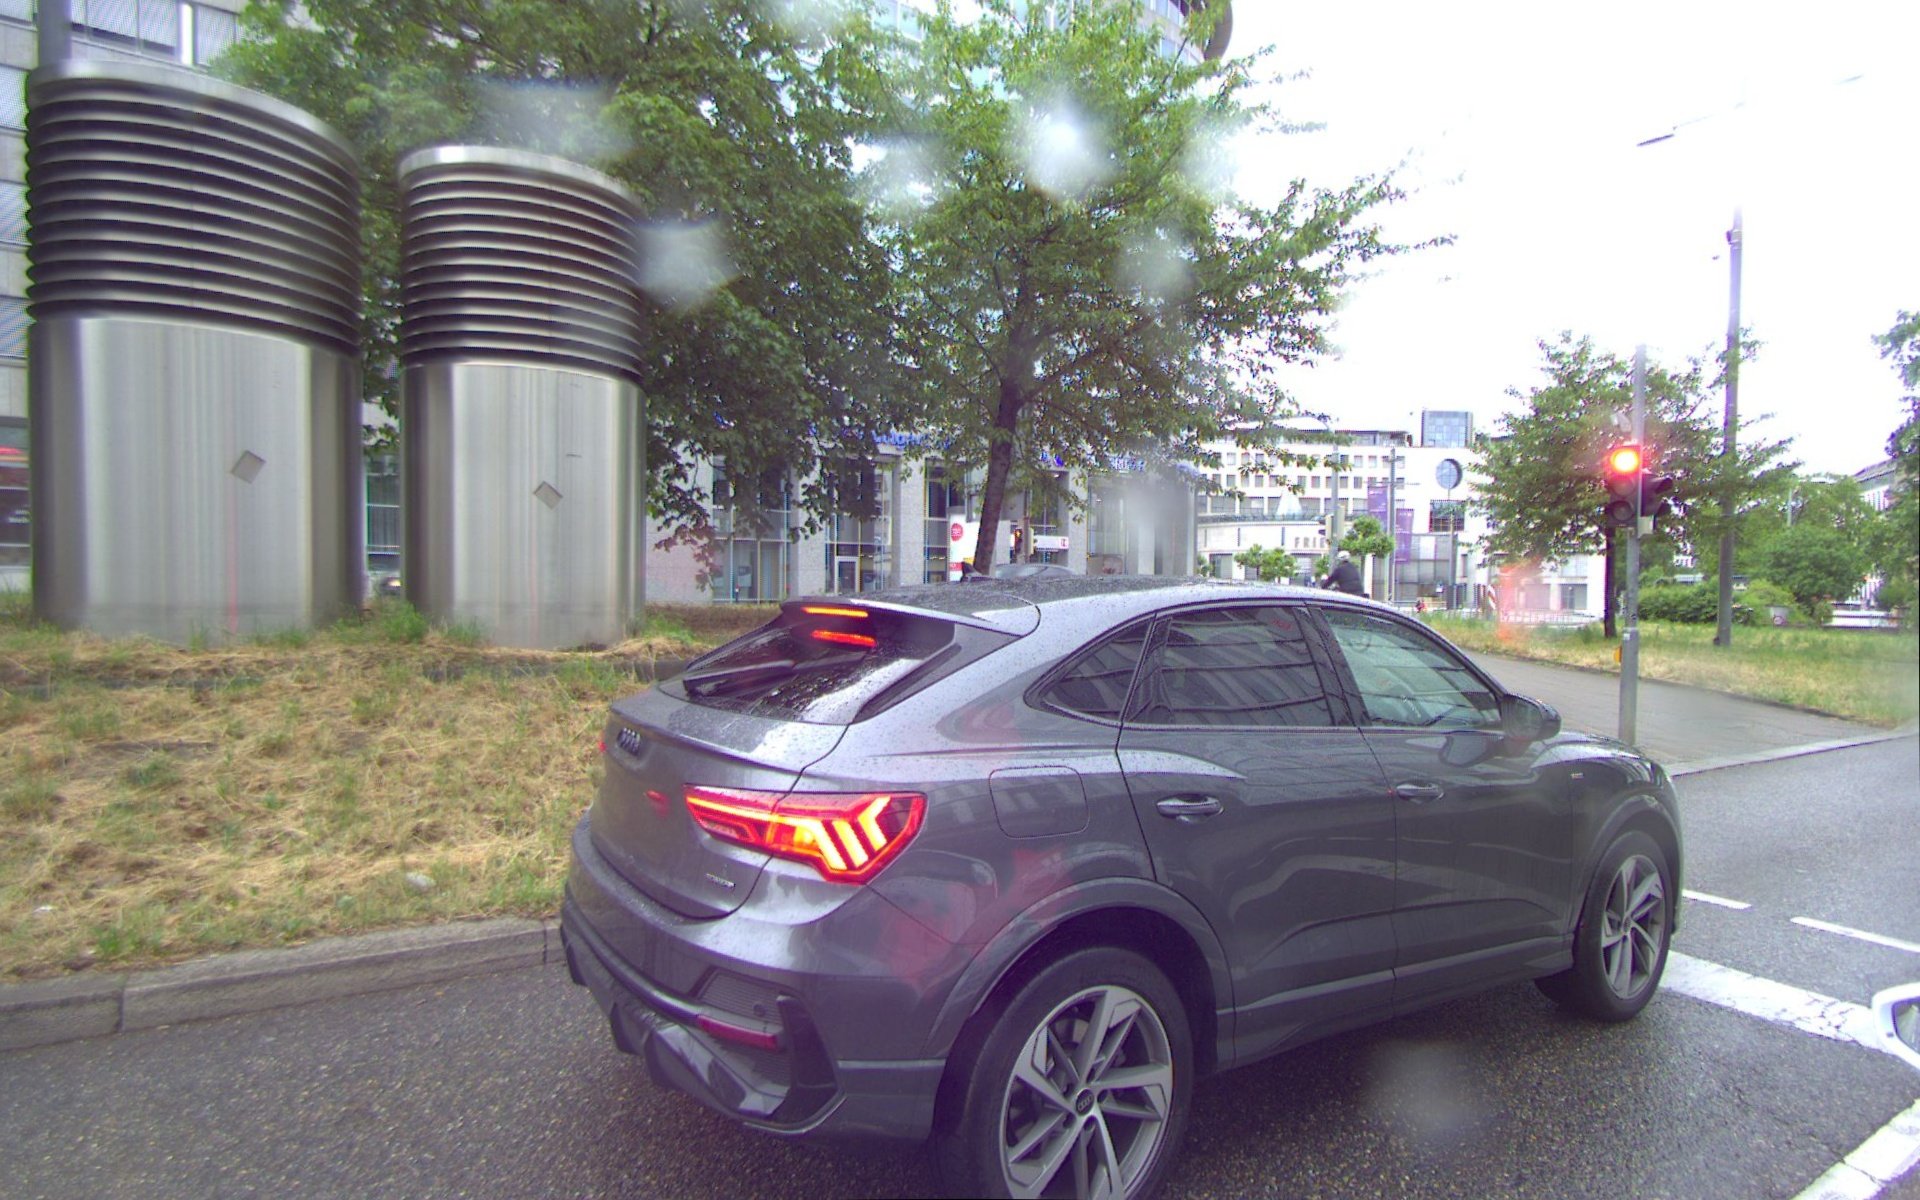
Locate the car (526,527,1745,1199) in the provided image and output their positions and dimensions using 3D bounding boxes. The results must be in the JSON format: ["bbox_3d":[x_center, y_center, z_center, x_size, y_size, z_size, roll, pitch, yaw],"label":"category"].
[{"bbox_3d":[0.865,0.682,3.609,4.208,1.638,1.836,0,2,-34],"label":"car"}]

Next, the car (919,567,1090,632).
[{"bbox_3d":[1.218,-0.005,26.210,4.347,1.506,1.789,1,2,-40],"label":"car"}]

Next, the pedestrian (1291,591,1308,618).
[{"bbox_3d":[19.439,0.274,57.553,0.719,1.536,0.688,-1,-2,40],"label":"pedestrian"}]

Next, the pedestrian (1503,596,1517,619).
[{"bbox_3d":[49.792,0.667,90.900,0.733,2.041,0.783,1,3,-36],"label":"pedestrian"}]

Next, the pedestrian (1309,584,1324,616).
[{"bbox_3d":[20.260,0.012,57.066,0.612,1.786,0.722,-1,-2,39],"label":"pedestrian"}]

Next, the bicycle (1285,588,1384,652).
[{"bbox_3d":[7.780,0.390,20.981,0.751,1.161,2.124,1,4,-17],"label":"bicycle"}]

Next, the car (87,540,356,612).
[{"bbox_3d":[-15.527,-0.476,21.362,4.435,1.343,1.878,1,1,-37],"label":"car"}]

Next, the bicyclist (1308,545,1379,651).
[{"bbox_3d":[7.881,-0.062,20.690,0.751,2.111,1.080,1,4,-18],"label":"bicyclist"}]

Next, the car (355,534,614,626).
[{"bbox_3d":[-8.652,-0.337,18.435,3.967,1.506,1.789,1,3,-40],"label":"car"}]
